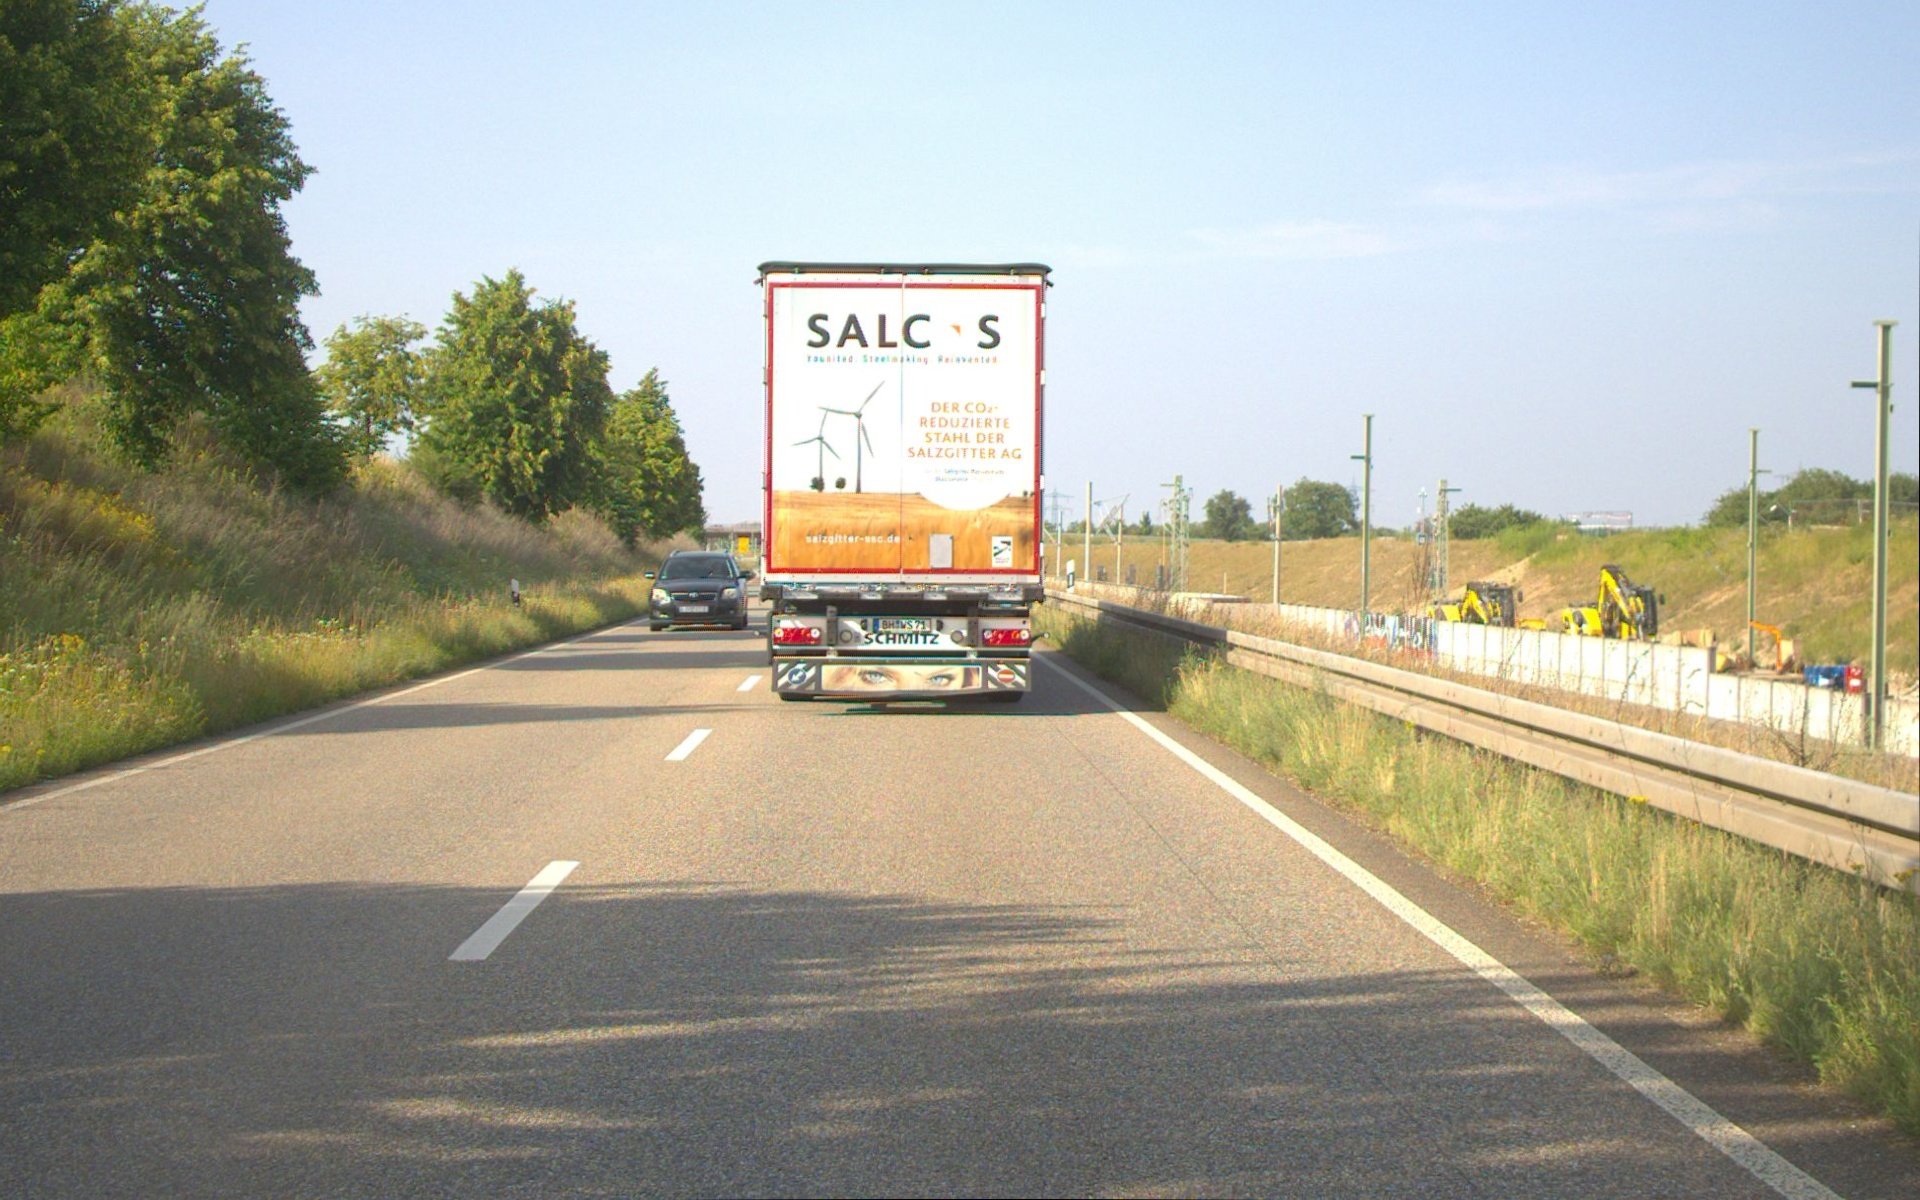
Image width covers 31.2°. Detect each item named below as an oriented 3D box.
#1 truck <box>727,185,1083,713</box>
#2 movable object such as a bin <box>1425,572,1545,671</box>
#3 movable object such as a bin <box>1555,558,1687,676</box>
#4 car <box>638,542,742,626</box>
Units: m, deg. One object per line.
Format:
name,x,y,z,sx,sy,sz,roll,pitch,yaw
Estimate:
truck,-0.562,-1.407,34.764,3.153,4.672,8.442,0,1,-1
movable object such as a bin,18.234,0.700,119.785,2.621,3.228,8.074,1,1,-2
movable object such as a bin,22.755,0.538,118.674,2.796,3.872,7.539,1,1,-2
car,-5.076,-0.330,65.064,1.743,1.541,4.312,0,1,-1
